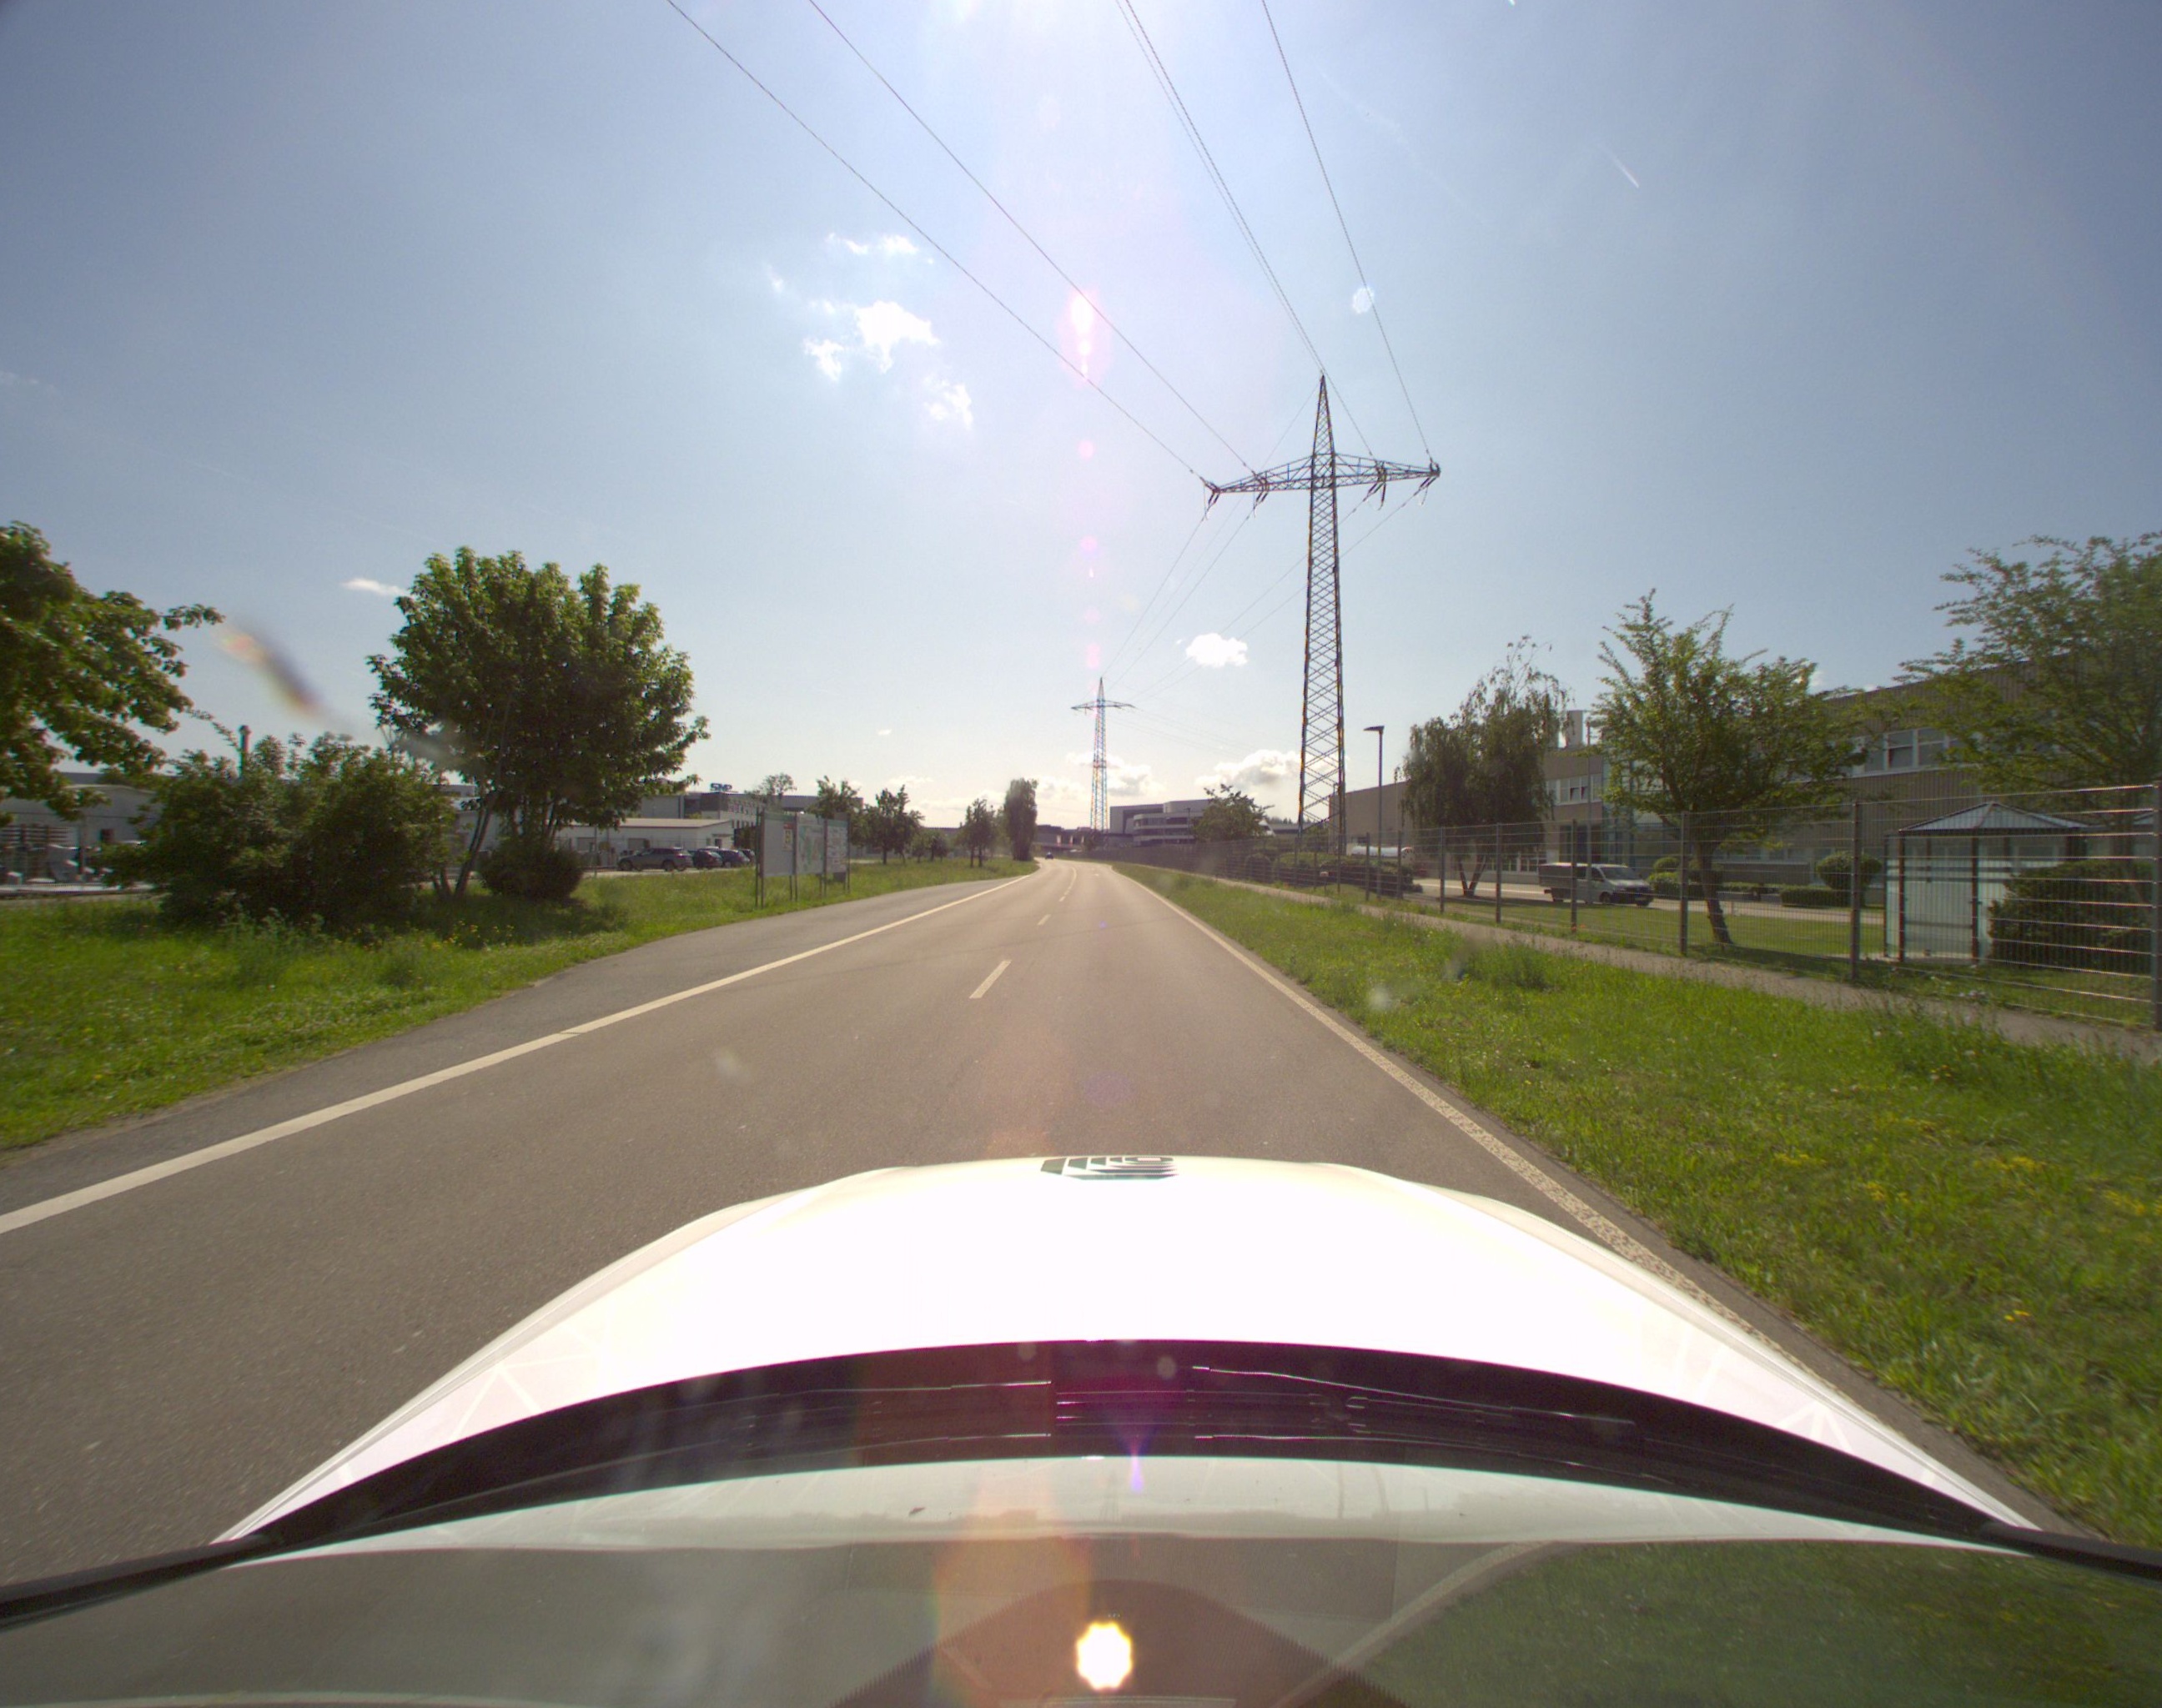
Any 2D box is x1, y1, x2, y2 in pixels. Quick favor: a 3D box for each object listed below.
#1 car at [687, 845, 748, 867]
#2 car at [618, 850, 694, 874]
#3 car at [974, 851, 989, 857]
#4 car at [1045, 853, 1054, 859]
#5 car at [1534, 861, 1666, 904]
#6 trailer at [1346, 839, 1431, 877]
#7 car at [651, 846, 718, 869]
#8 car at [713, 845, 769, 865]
[{"bbox_3d":[-29.294,0.172,65.679,3.981,1.640,1.996,1,0,-5],"label":"car"},{"bbox_3d":[-28.504,0.532,54.710,3.981,1.528,1.996,1,0,-5],"label":"car"},{"bbox_3d":[-27.299,-0.004,223.982,3.983,1.574,1.995,3,-2,-7],"label":"car"},{"bbox_3d":[-7.726,0.473,200.476,2.007,1.508,3.997,-1,0,-2],"label":"car"},{"bbox_3d":[24.046,1.256,38.064,2.107,1.779,5.642,1,0,-7],"label":"car"},{"bbox_3d":[32.759,0.387,87.569,3.586,3.735,12.213,0,0,-6],"label":"trailer"},{"bbox_3d":[-28.796,0.250,59.171,3.981,1.555,1.663,1,0,-5],"label":"car"},{"bbox_3d":[-29.759,0.091,71.369,3.981,1.640,1.996,1,0,-5],"label":"car"}]
